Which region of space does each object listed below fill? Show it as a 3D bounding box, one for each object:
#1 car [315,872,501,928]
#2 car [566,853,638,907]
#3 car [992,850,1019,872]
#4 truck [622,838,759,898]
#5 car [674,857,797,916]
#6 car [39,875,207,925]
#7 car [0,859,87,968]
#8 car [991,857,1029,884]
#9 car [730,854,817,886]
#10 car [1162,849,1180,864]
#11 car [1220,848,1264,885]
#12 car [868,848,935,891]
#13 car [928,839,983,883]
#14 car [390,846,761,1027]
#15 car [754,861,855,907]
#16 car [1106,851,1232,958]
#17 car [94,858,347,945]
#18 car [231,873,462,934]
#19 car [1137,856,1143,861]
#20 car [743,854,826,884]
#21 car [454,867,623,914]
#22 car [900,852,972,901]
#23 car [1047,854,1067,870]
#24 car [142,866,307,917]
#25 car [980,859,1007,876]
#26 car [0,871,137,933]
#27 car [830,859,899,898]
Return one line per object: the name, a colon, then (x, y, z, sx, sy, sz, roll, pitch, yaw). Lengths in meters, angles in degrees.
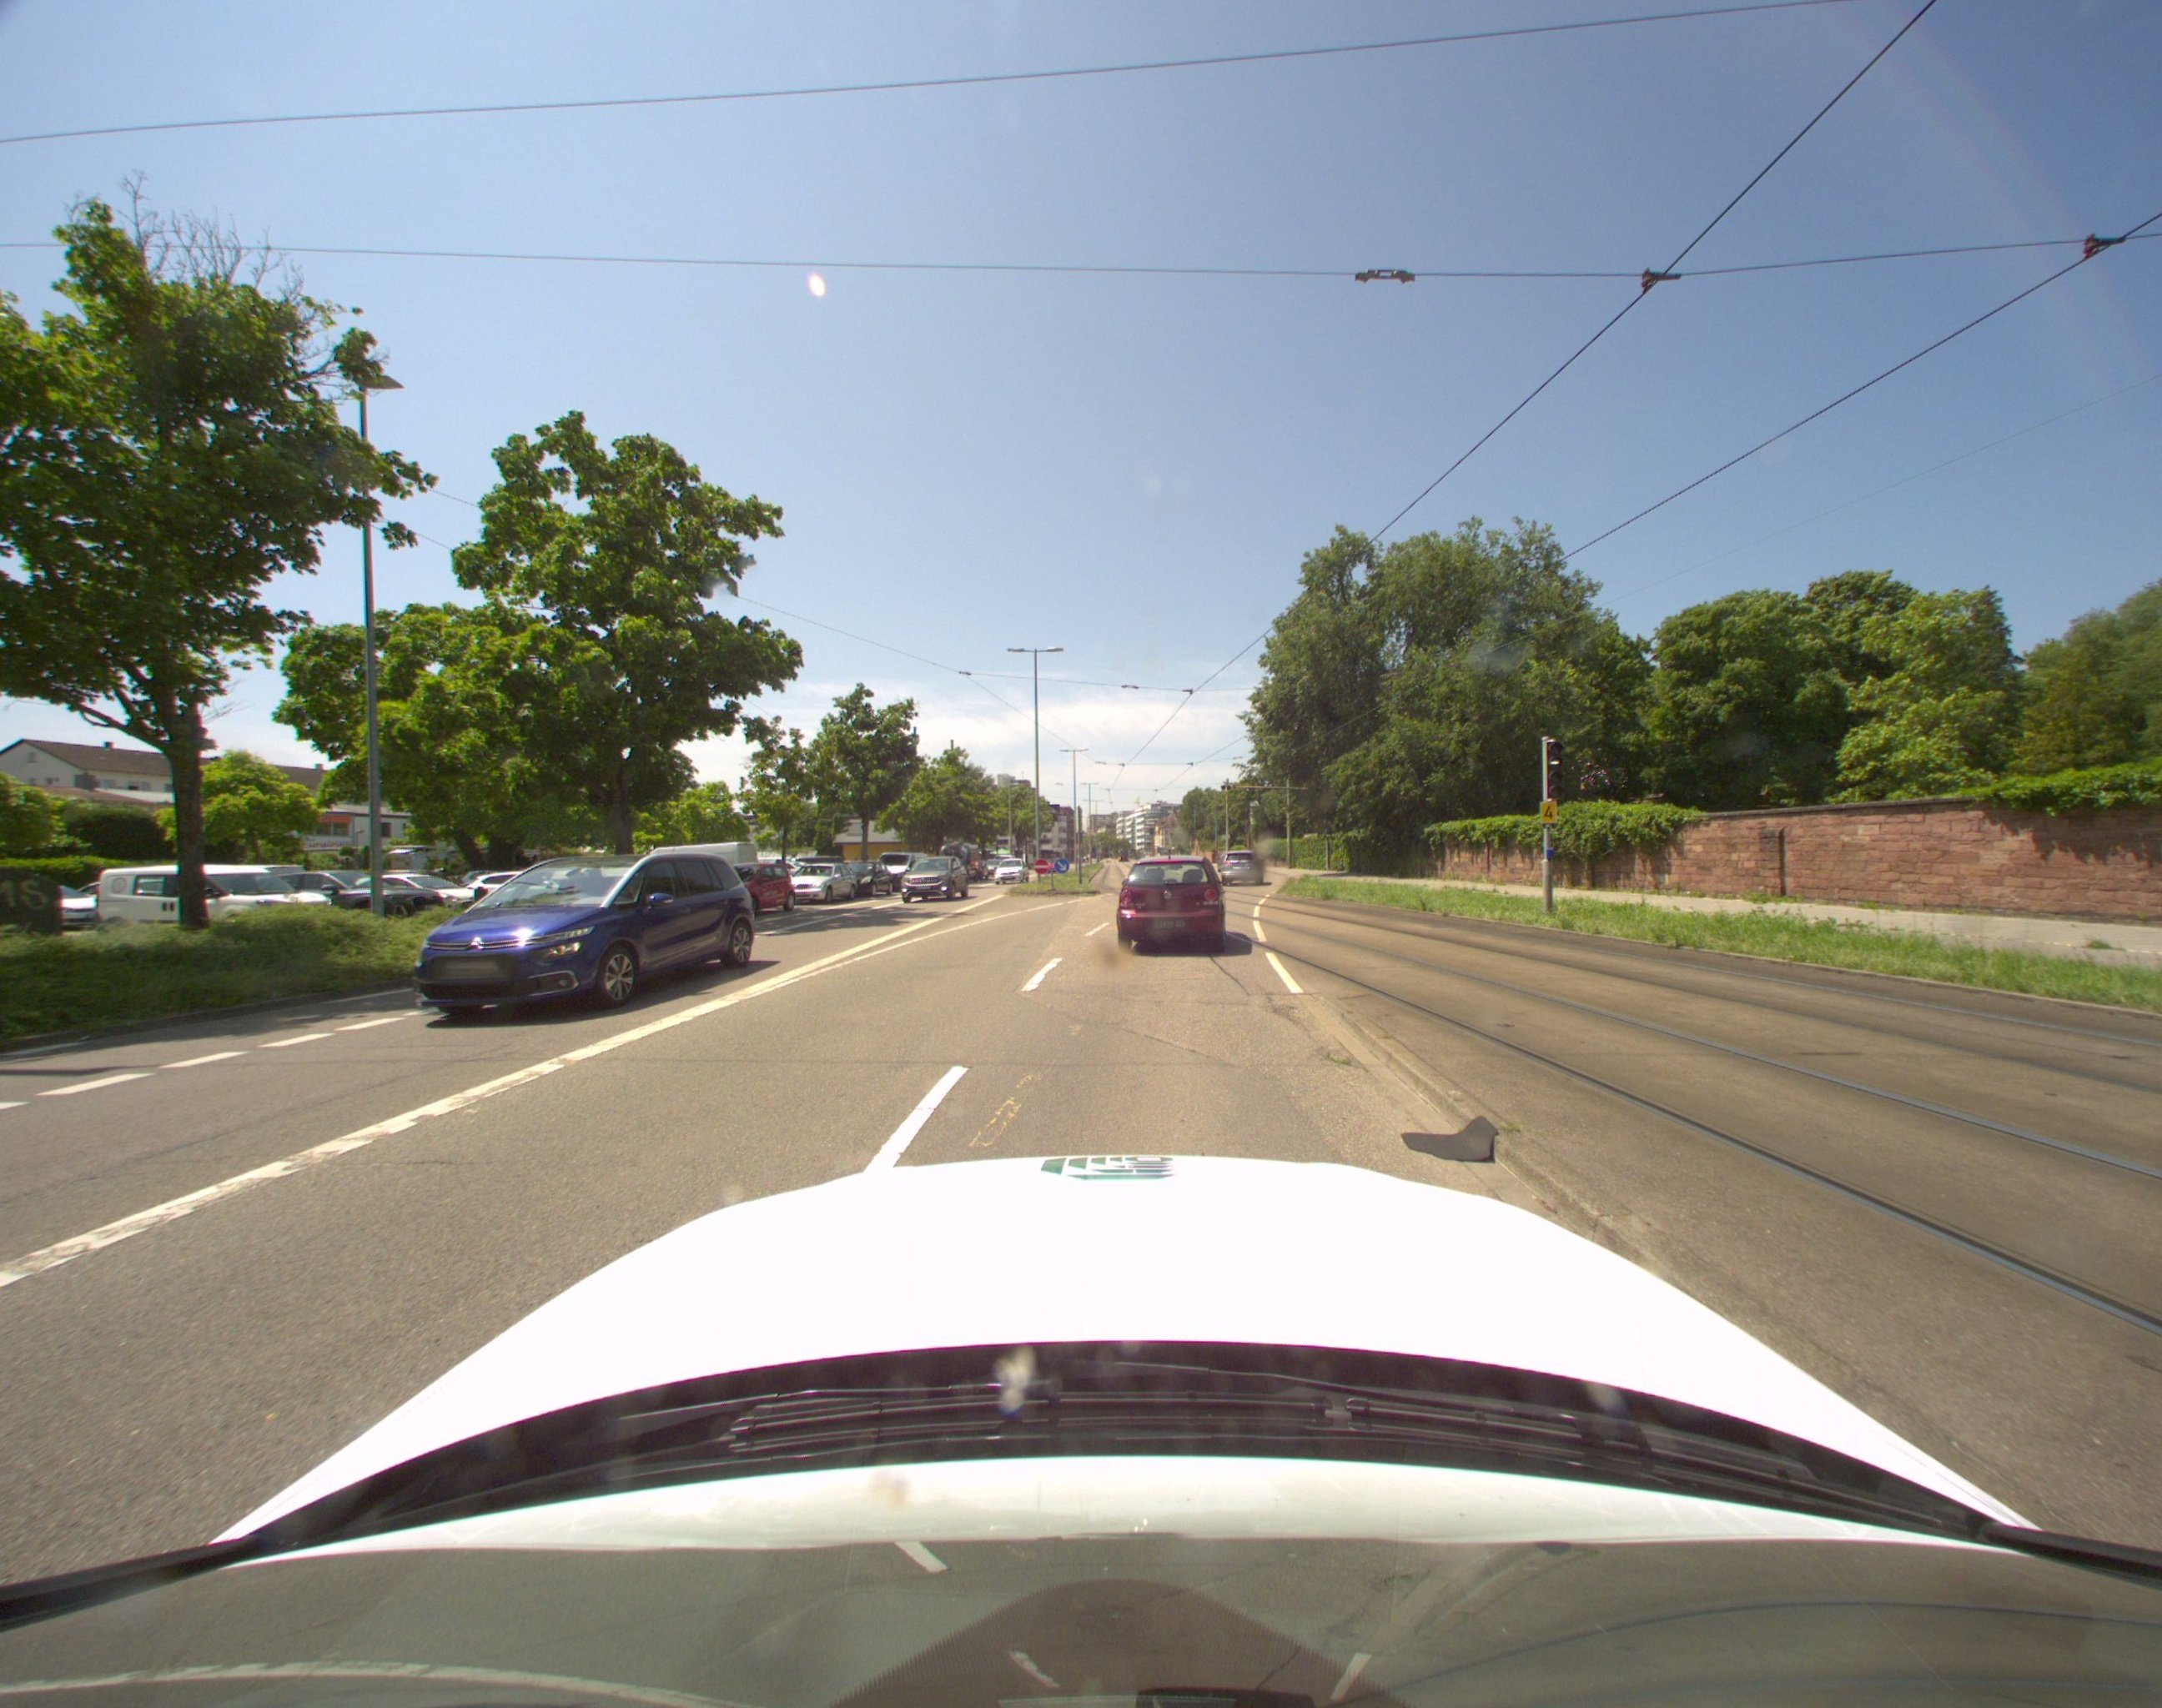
car: (-20.349, 1.370, 24.736, 4.104, 1.508, 1.934, -2, 0, 4)
car: (-19.029, 0.967, 32.520, 1.858, 1.995, 4.192, 0, 0, -22)
car: (-7.093, 0.648, 77.180, 1.868, 1.965, 5.167, -1, 0, 2)
truck: (-19.252, 0.683, 40.352, 5.555, 2.759, 2.434, -1, 0, 3)
car: (-9.710, 0.868, 23.230, 1.664, 1.546, 3.731, 0, -1, 4)
car: (-32.960, 1.555, 28.090, 3.733, 1.576, 1.733, -1, 0, 1)
car: (-20.744, 1.086, 14.157, 4.430, 1.857, 2.062, -2, 0, 2)
car: (-4.019, 0.942, 46.848, 1.642, 1.376, 3.813, -3, -1, 2)
car: (-19.273, 0.980, 51.120, 4.702, 1.813, 1.797, -2, 0, 0)
car: (10.577, 0.303, 95.554, 1.788, 1.683, 4.003, -1, 0, 3)
car: (7.827, 0.567, 39.373, 1.782, 1.683, 4.017, 0, 0, 16)
car: (-8.806, 0.746, 40.355, 1.854, 1.937, 4.811, 2, 0, 4)
car: (-8.248, 0.446, 54.196, 2.389, 2.656, 6.176, 2, 0, 2)
car: (-5.593, 0.786, 9.740, 1.731, 1.657, 4.068, -2, 0, 2)
car: (-9.540, 0.997, 28.503, 1.712, 1.427, 4.774, 0, 0, 2)
car: (1.622, 0.739, 13.730, 1.598, 1.498, 4.014, -2, 0, 13)
car: (-19.954, 1.071, 18.981, 4.247, 1.835, 1.675, -2, 0, 4)
car: (-19.586, 1.289, 21.896, 4.185, 1.403, 2.079, -2, 0, -2)
car: (14.211, 1.058, 197.132, 1.348, 1.252, 2.974, 0, 0, 3)
car: (-19.354, 0.963, 53.323, 4.702, 1.813, 1.797, -2, 0, 0)
car: (-19.759, 1.318, 29.821, 4.745, 1.488, 2.058, -2, 0, 0)
car: (-5.123, 0.752, 29.154, 1.731, 1.575, 3.715, -2, 0, 2)
car: (-2.229, 0.709, 77.207, 1.651, 1.410, 3.607, -3, 0, 2)
car: (-31.989, 1.374, 30.516, 4.112, 1.820, 1.971, -1, 0, 1)
car: (-7.470, 1.124, 70.012, 1.624, 1.420, 3.871, 1, 0, 5)
car: (-32.749, 1.484, 25.663, 4.112, 1.820, 1.647, -1, 0, 1)
car: (-9.159, 1.015, 34.764, 1.607, 1.484, 3.789, 2, 0, 4)
